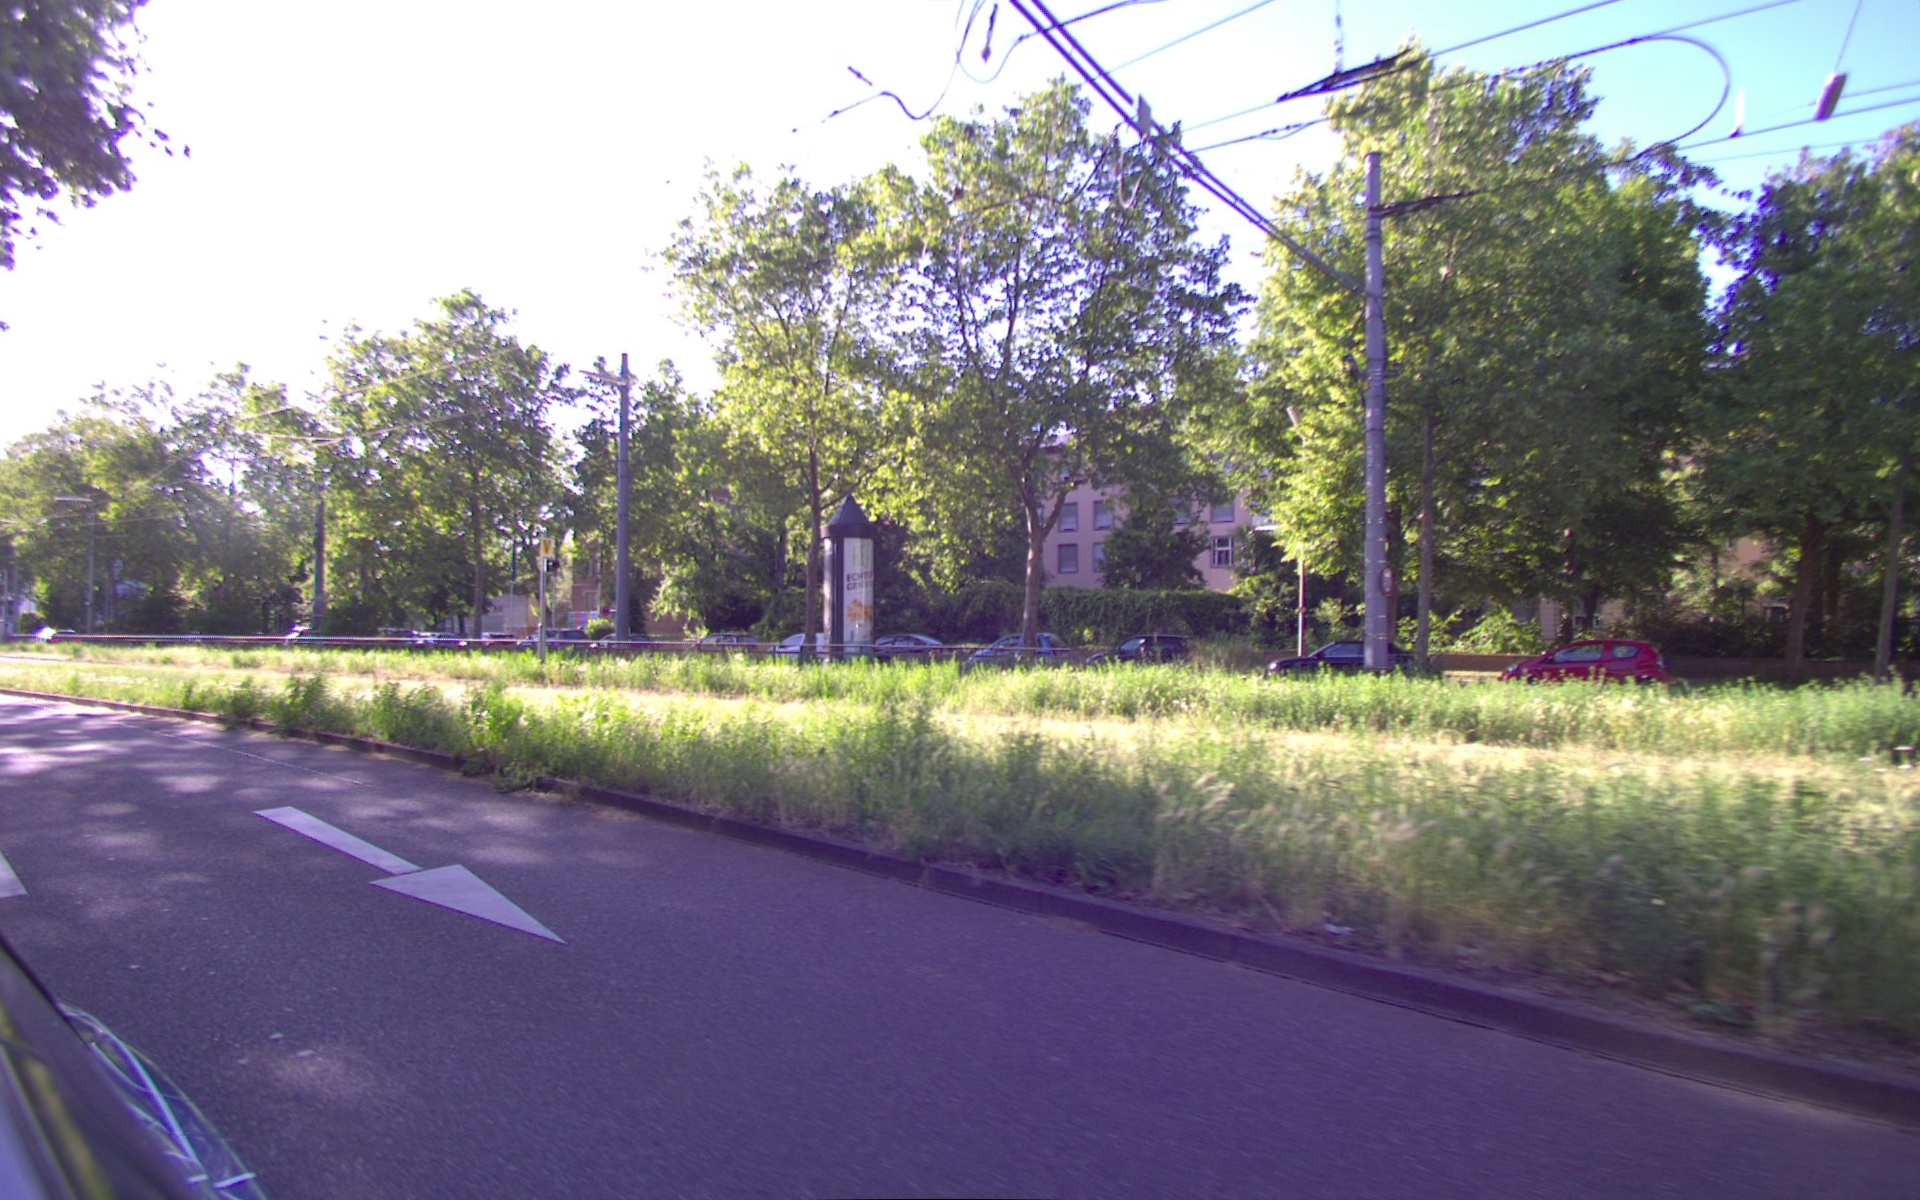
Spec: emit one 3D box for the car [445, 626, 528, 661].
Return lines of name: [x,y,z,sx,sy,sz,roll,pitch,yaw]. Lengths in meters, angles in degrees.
car: [-23.964,2.185,51.215,3.987,1.634,1.978,-1,0,33]

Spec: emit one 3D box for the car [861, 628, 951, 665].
car: [-1.866,1.573,34.866,2.837,1.209,1.389,-1,-2,33]

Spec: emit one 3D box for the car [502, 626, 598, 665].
car: [-19.479,2.130,48.032,4.499,1.696,1.978,-1,0,32]

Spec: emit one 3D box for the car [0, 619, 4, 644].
car: [-62.746,2.030,64.536,4.038,1.564,1.778,-1,0,35]

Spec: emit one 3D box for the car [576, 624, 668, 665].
car: [-15.026,1.948,44.973,3.989,1.696,1.806,-1,0,34]

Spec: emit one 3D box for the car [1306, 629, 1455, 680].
car: [10.818,1.370,26.079,3.350,1.238,1.395,-1,-2,34]

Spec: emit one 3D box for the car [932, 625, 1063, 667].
car: [1.216,1.473,33.255,3.990,1.187,1.777,0,0,35]

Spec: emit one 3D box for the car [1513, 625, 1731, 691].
car: [15.053,1.284,23.123,3.992,1.320,1.975,-2,-1,37]

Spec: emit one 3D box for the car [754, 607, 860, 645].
car: [-5.738,0.970,37.890,3.771,1.322,1.754,-1,0,35]

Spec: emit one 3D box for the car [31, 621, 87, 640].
car: [-56.432,1.909,63.394,4.697,1.143,1.674,-1,0,36]
